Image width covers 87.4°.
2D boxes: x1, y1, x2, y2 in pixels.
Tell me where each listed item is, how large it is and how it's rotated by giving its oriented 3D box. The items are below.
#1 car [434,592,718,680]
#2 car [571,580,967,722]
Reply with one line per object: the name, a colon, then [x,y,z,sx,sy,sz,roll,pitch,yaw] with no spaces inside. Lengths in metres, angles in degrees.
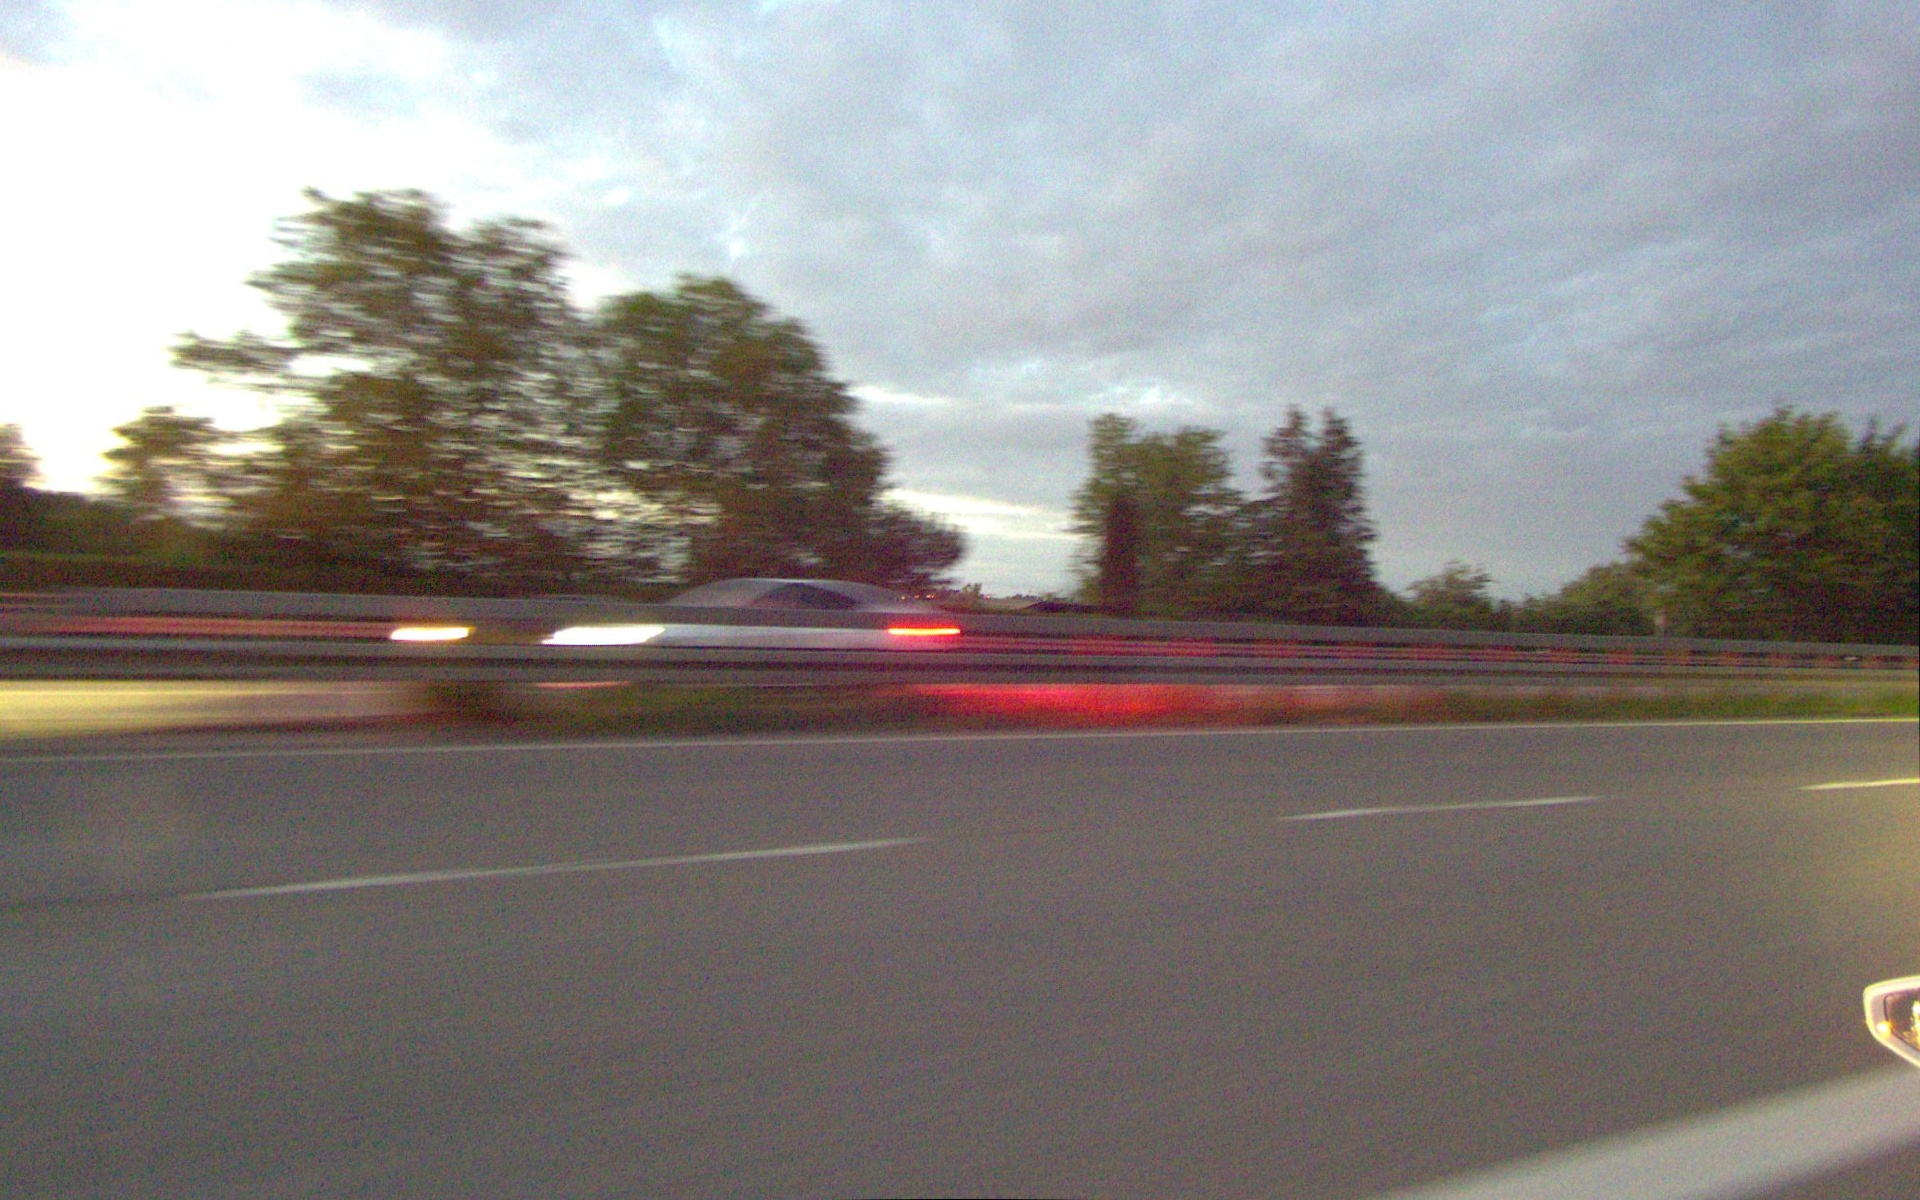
car: [-7.055,0.695,18.710,4.668,1.472,1.989,2,-2,-24]
car: [-2.489,0.678,13.104,4.753,1.590,1.990,2,-2,-23]
